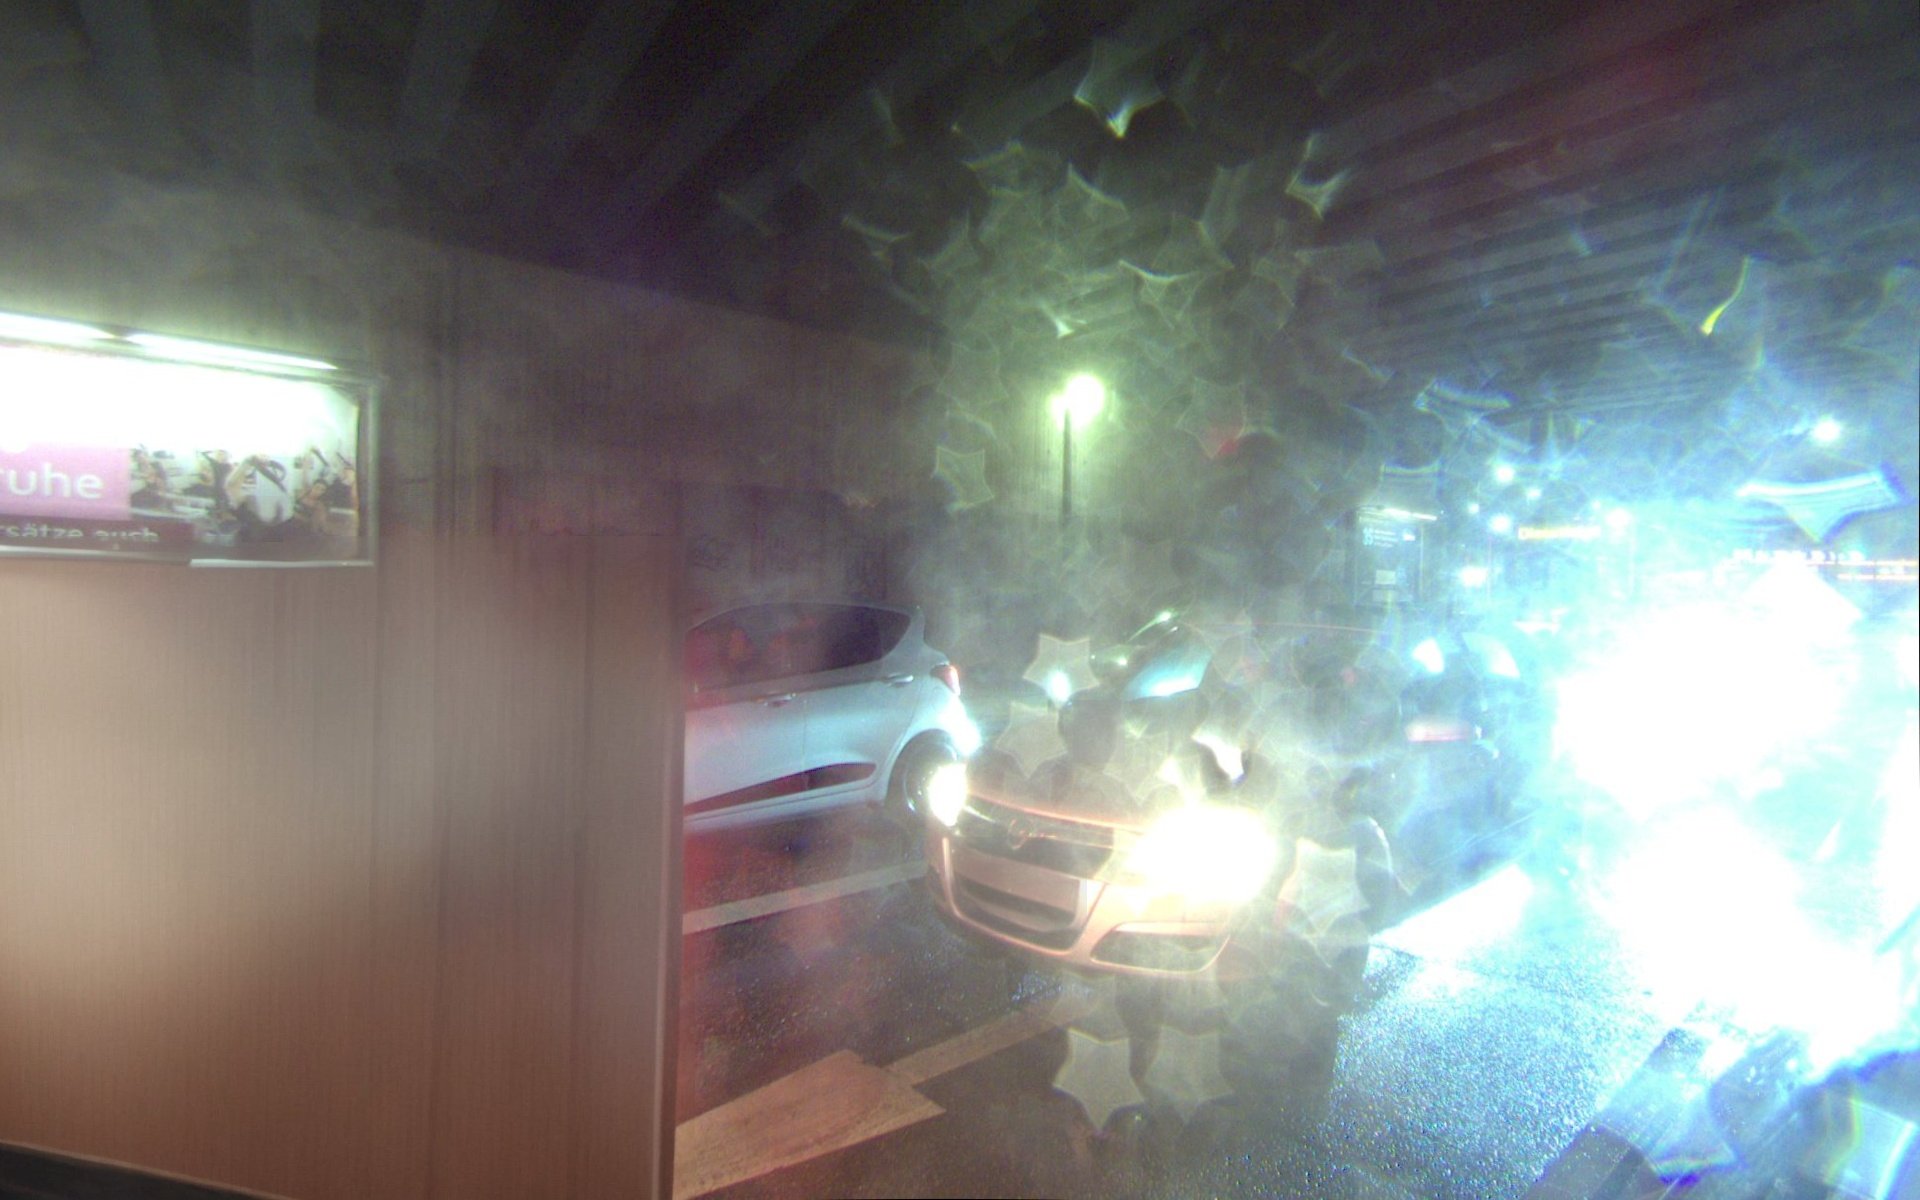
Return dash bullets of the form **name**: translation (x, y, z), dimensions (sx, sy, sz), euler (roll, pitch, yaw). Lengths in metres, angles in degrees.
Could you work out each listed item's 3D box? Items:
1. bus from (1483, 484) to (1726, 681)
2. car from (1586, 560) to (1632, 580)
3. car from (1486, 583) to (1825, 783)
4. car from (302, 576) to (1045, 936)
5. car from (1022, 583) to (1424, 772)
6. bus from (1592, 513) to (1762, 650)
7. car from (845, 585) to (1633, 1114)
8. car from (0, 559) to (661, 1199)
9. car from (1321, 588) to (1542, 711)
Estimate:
- **bus**: translation (14.032, -0.384, 21.561), dimensions (2.733, 3.318, 9.551), euler (1, 1, 43)
- **car**: translation (46.334, -2.118, 72.322), dimensions (1.685, 1.407, 3.979), euler (0, 1, 17)
- **car**: translation (6.767, 0.636, 9.668), dimensions (4.091, 1.506, 1.722), euler (-1, -2, -42)
- **car**: translation (-1.510, 0.619, 6.254), dimensions (4.091, 1.464, 1.723), euler (-1, 3, -42)
- **car**: translation (2.898, 0.593, 10.449), dimensions (4.705, 1.505, 1.723), euler (-1, 2, -42)
- **bus**: translation (20.477, -0.532, 28.595), dimensions (2.733, 3.278, 9.551), euler (1, 1, 43)
- **car**: translation (1.619, 0.668, 4.848), dimensions (4.091, 1.464, 1.723), euler (-1, 1, -42)
- **car**: translation (-2.696, 0.686, 0.975), dimensions (4.308, 1.464, 1.723), euler (-1, 3, -42)
- **car**: translation (7.142, 0.619, 15.129), dimensions (1.721, 1.505, 4.096), euler (3, 3, 44)
